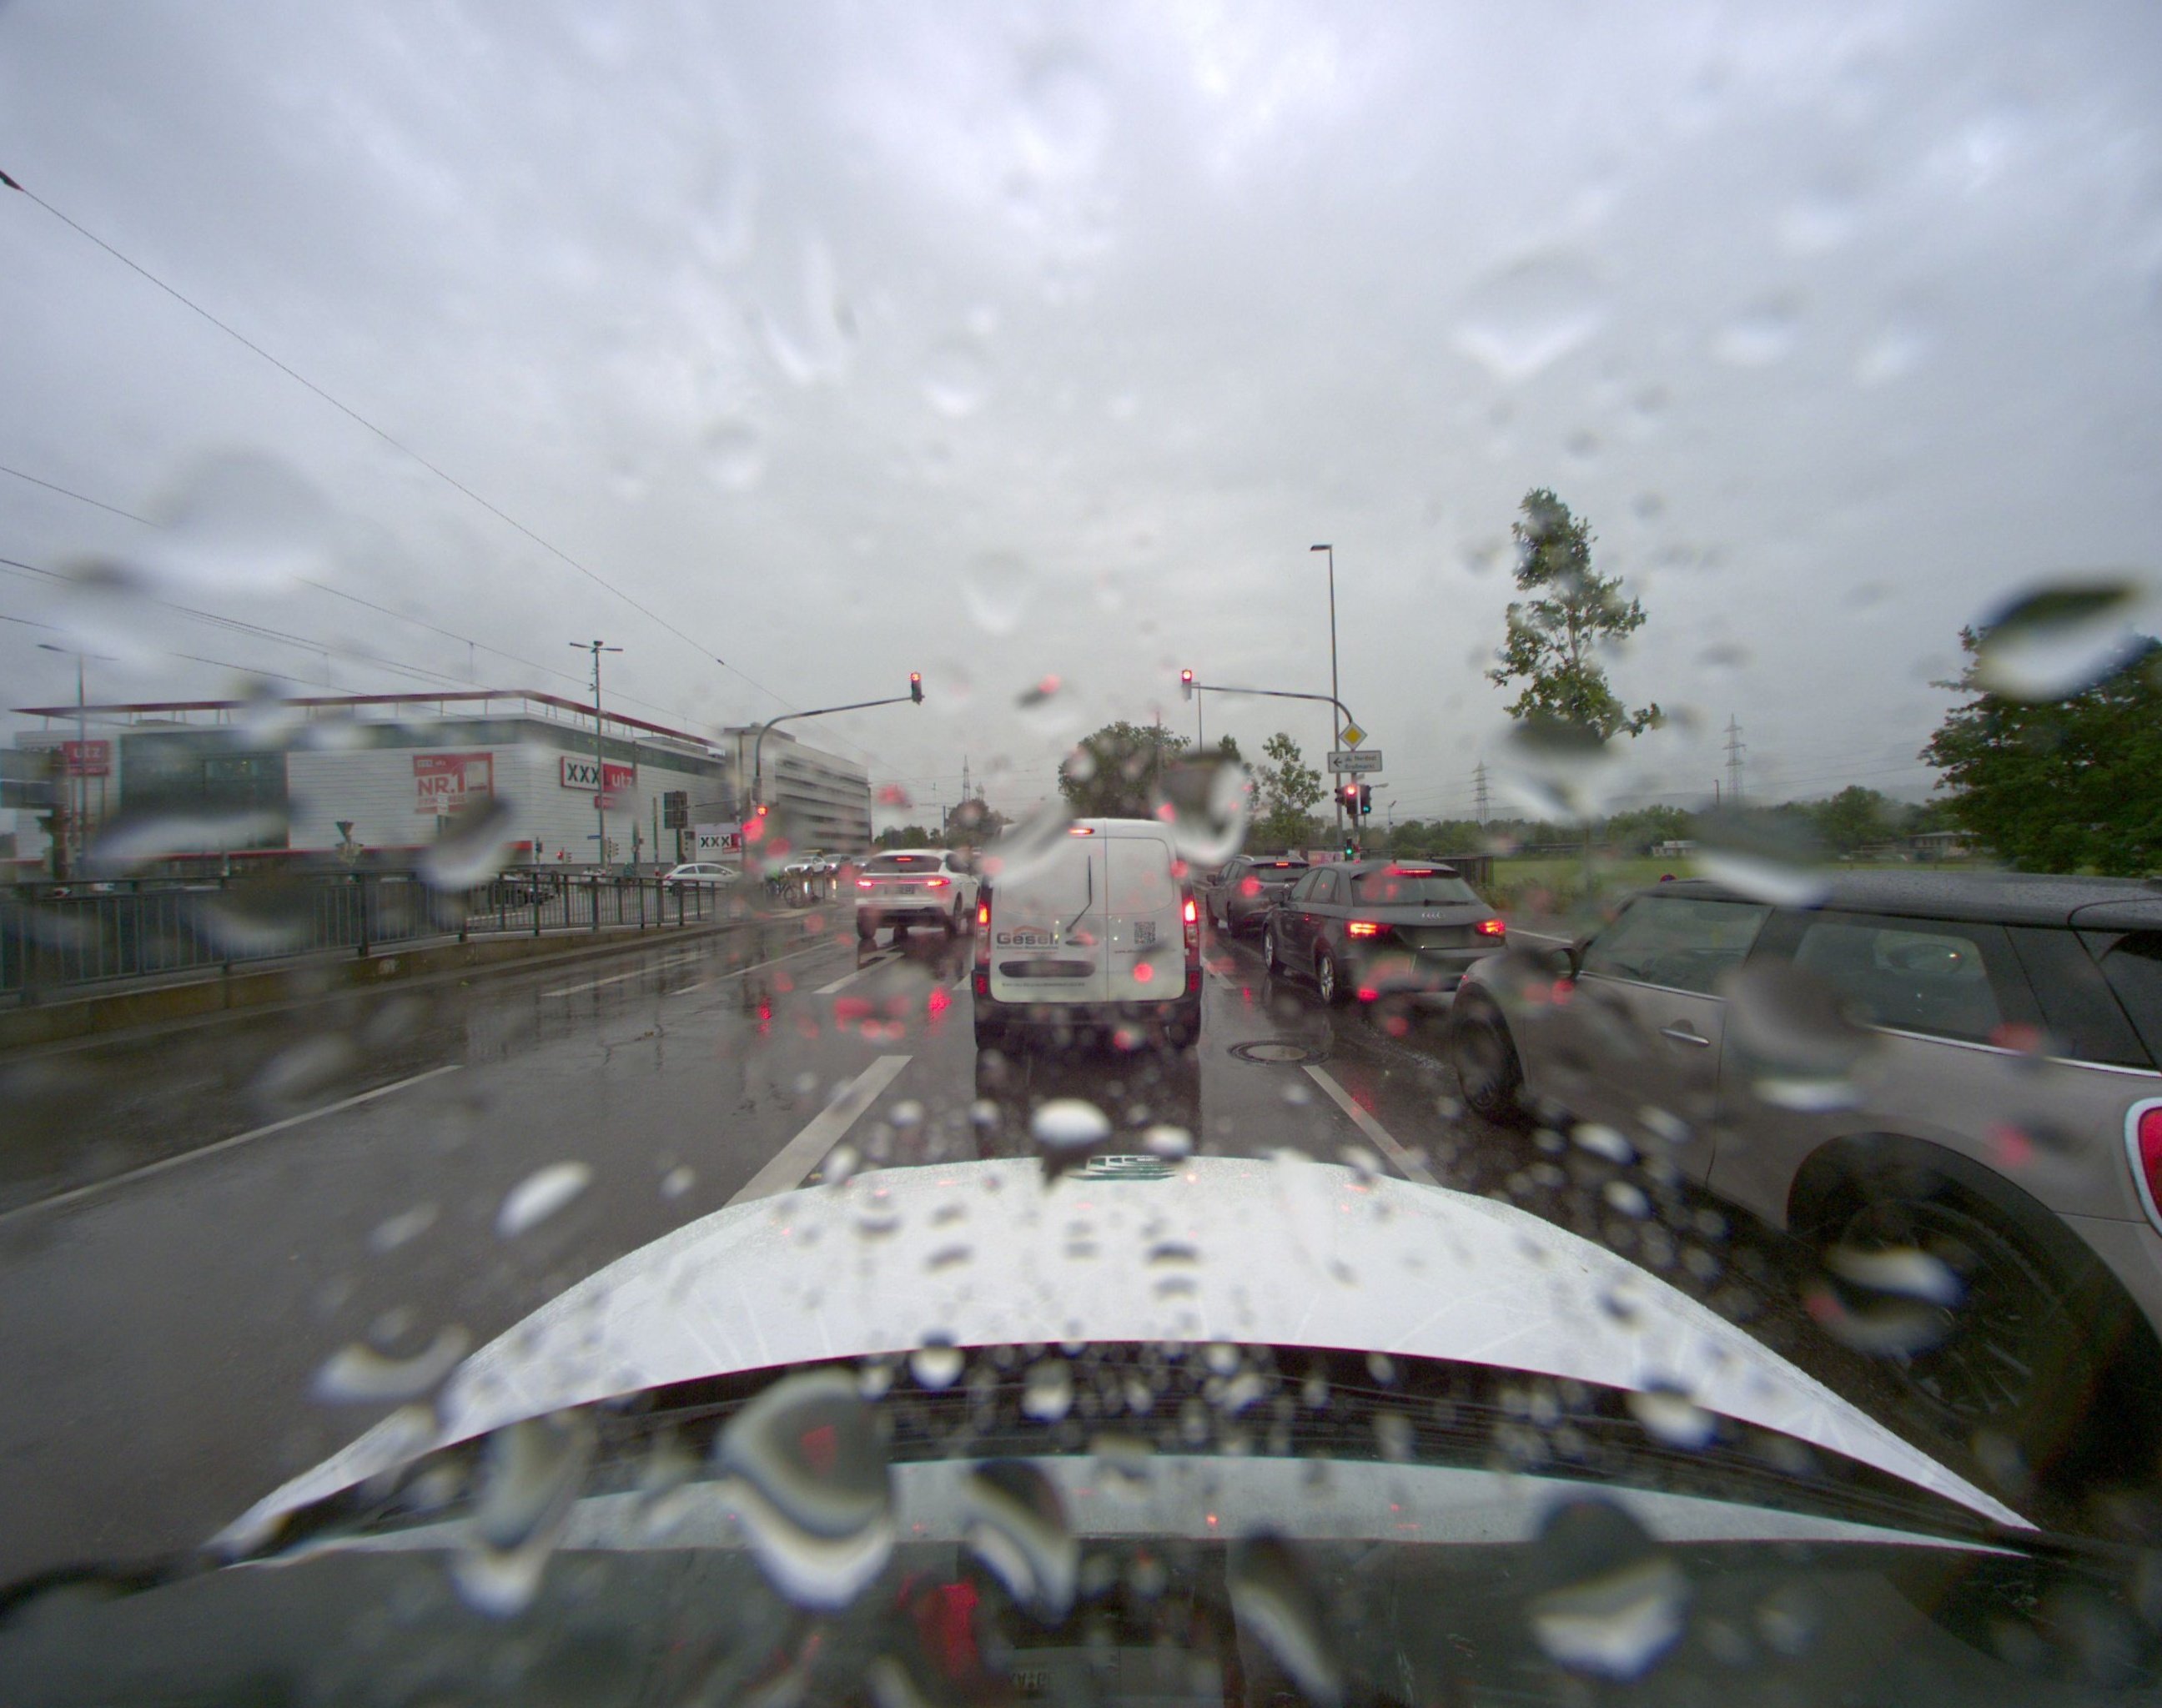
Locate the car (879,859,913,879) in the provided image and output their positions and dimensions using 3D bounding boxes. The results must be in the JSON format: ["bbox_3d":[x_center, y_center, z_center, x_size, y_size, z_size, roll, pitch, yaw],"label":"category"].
[{"bbox_3d":[-17.665,1.445,78.046,1.919,1.827,4.007,0,-1,6],"label":"car"}]

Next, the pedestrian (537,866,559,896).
[{"bbox_3d":[-29.757,1.492,45.469,0.701,1.632,0.918,0,-1,-10],"label":"pedestrian"}]

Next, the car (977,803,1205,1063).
[{"bbox_3d":[0.131,0.562,7.670,1.560,1.788,4.002,-1,0,2],"label":"car"}]

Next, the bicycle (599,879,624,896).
[{"bbox_3d":[-28.595,2.031,49.611,0.448,0.987,1.710,0,-1,2],"label":"bicycle"}]

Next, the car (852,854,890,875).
[{"bbox_3d":[-18.275,0.899,70.966,1.883,1.699,4.006,0,-1,6],"label":"car"}]

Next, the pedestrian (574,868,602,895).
[{"bbox_3d":[-30.682,1.717,50.672,1.013,1.632,1.091,-1,-1,28],"label":"pedestrian"}]

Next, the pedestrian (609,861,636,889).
[{"bbox_3d":[-26.689,1.212,47.385,0.912,1.632,1.015,-1,-1,12],"label":"pedestrian"}]

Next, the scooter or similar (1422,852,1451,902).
[{"bbox_3d":[8.479,0.540,19.445,0.244,1.158,1.187,0,-1,3],"label":"scooter or similar"}]

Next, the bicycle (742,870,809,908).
[{"bbox_3d":[-8.916,1.014,23.804,1.745,1.034,0.414,2,-1,0],"label":"bicycle"}]

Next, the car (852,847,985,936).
[{"bbox_3d":[-3.075,0.637,16.304,1.723,1.535,4.298,0,0,1],"label":"car"}]

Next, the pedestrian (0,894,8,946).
[{"bbox_3d":[-32.535,1.969,24.021,0.561,1.537,0.872,0,-1,1],"label":"pedestrian"}]

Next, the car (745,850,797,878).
[{"bbox_3d":[-23.073,0.755,60.703,1.983,2.014,4.007,0,-1,6],"label":"car"}]

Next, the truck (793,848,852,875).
[{"bbox_3d":[-22.439,0.658,71.108,2.342,2.279,7.637,0,0,2],"label":"truck"}]

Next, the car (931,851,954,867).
[{"bbox_3d":[-17.786,0.689,104.496,1.985,2.014,4.003,0,-1,3],"label":"car"}]

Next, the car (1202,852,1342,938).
[{"bbox_3d":[3.493,0.685,15.592,1.853,1.428,3.808,0,0,1],"label":"car"}]

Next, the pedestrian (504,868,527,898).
[{"bbox_3d":[-31.382,1.617,45.193,0.701,1.632,0.918,0,-1,-10],"label":"pedestrian"}]

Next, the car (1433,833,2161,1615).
[{"bbox_3d":[2.987,0.708,3.225,1.707,1.508,3.625,0,0,2],"label":"car"}]

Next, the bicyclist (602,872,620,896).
[{"bbox_3d":[-28.613,1.809,49.585,0.681,1.464,0.647,0,-1,3],"label":"bicyclist"}]

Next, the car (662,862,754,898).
[{"bbox_3d":[-16.806,1.149,36.782,3.721,1.503,1.606,0,-1,-25],"label":"car"}]

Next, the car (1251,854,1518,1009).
[{"bbox_3d":[3.046,0.691,8.971,1.623,1.344,3.624,0,0,1],"label":"car"}]

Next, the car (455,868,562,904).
[{"bbox_3d":[-23.868,1.333,34.051,3.344,1.422,1.464,0,-1,-8],"label":"car"}]

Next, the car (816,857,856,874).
[{"bbox_3d":[-19.139,0.886,63.729,1.579,1.336,3.837,0,-1,6],"label":"car"}]

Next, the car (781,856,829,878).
[{"bbox_3d":[-19.519,0.909,57.756,1.689,1.492,3.884,0,-1,7],"label":"car"}]
